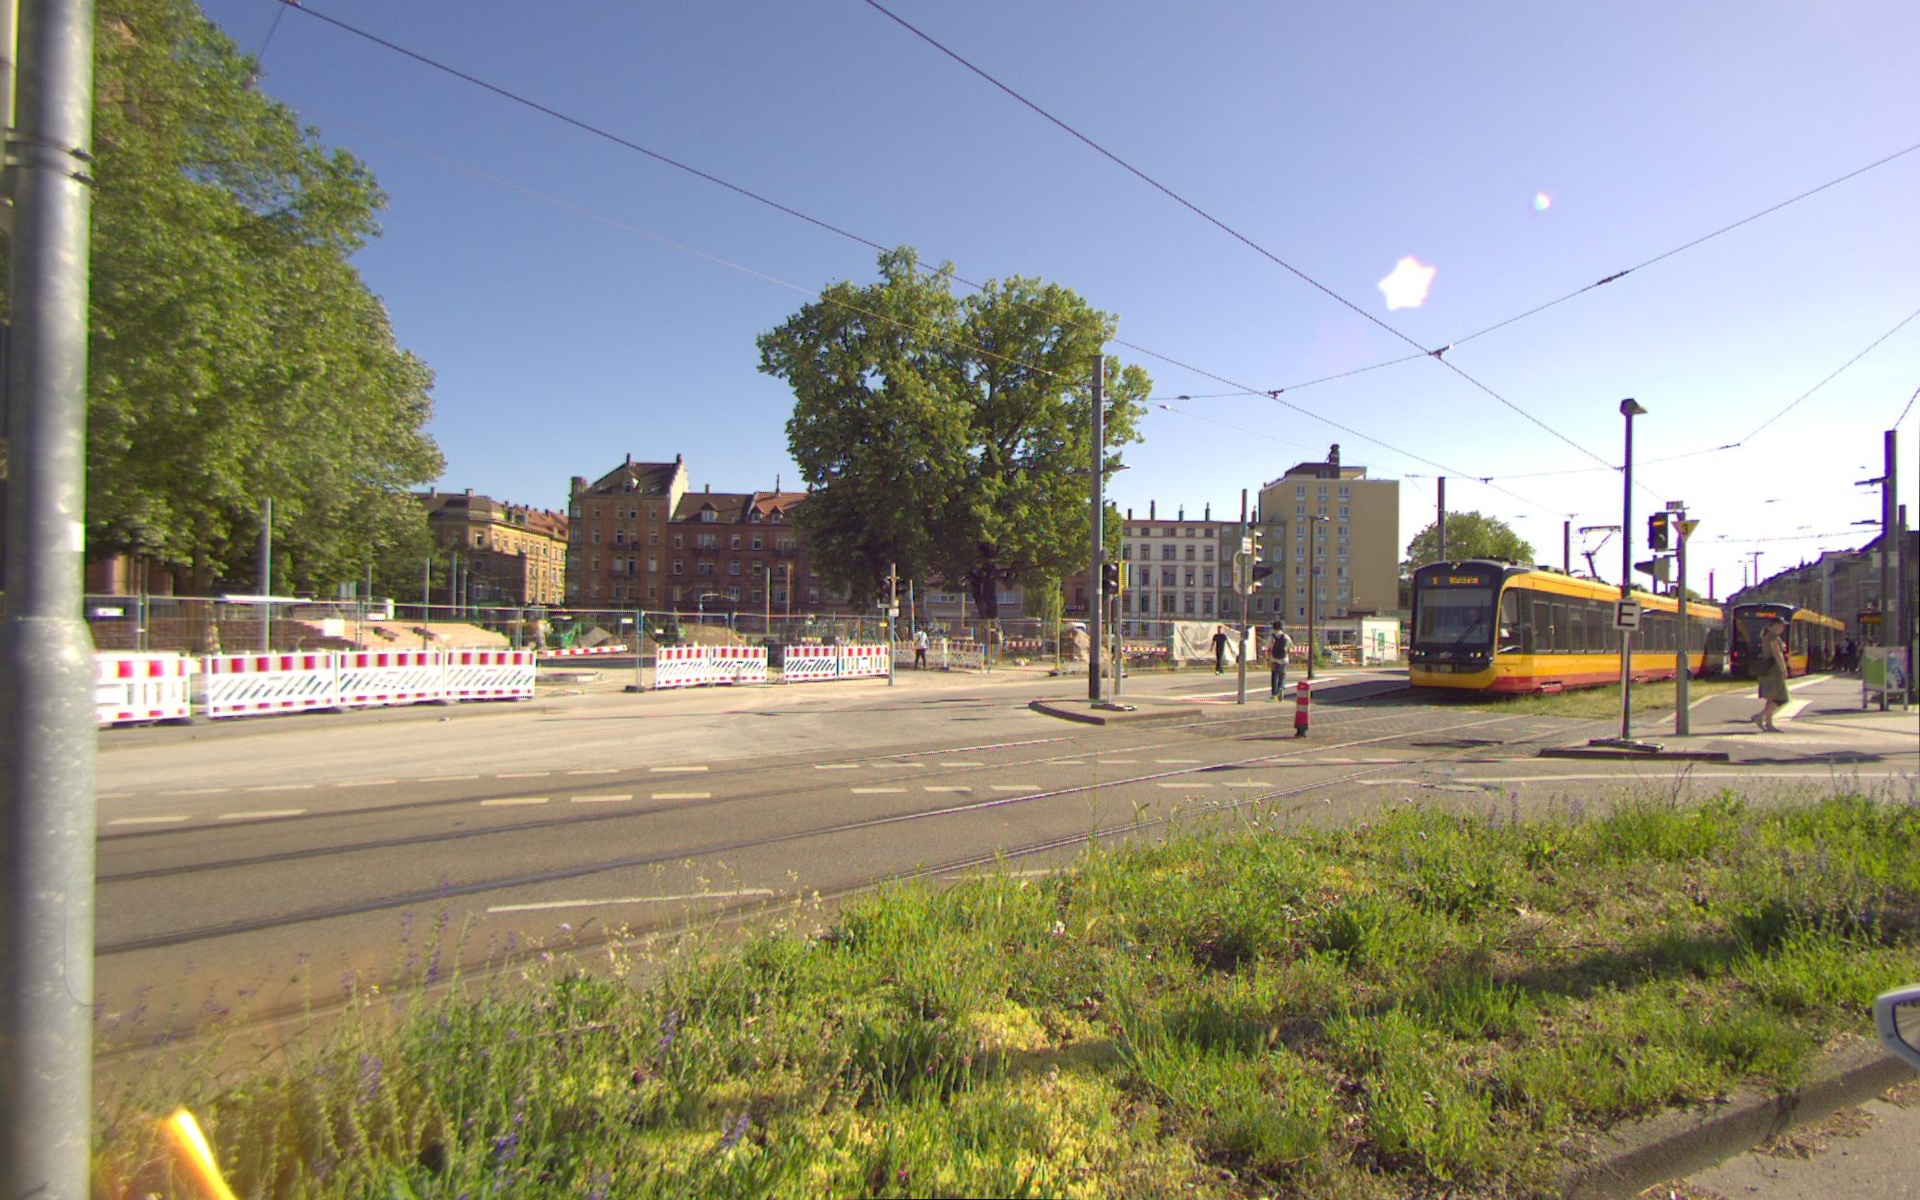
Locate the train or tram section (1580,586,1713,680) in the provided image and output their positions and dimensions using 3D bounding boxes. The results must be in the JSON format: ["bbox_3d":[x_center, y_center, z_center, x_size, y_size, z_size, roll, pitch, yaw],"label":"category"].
[{"bbox_3d":[29.531,1.417,42.891,2.787,3.554,11.142,1,-1,44],"label":"train or tram section"}]

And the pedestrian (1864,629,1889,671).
[{"bbox_3d":[43.372,2.366,47.558,0.838,1.908,0.756,1,-2,43],"label":"pedestrian"}]

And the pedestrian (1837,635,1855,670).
[{"bbox_3d":[48.597,2.870,55.069,0.697,1.881,0.627,3,-1,-41],"label":"pedestrian"}]

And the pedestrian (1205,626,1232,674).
[{"bbox_3d":[9.687,1.860,37.603,0.660,1.791,0.795,-1,-2,43],"label":"pedestrian"}]

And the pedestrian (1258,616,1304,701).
[{"bbox_3d":[7.313,1.323,22.859,0.747,1.856,1.017,0,-2,33],"label":"pedestrian"}]

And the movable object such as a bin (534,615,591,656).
[{"bbox_3d":[-24.660,2.206,62.402,1.857,2.377,4.229,3,-1,-2],"label":"movable object such as a bin"}]

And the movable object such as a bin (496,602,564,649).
[{"bbox_3d":[-31.409,1.862,73.543,3.061,3.214,5.242,3,-1,-7],"label":"movable object such as a bin"}]

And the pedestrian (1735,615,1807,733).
[{"bbox_3d":[13.395,1.188,16.613,0.888,1.875,0.761,0,0,37],"label":"pedestrian"}]

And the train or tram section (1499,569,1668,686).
[{"bbox_3d":[22.064,0.998,35.150,2.787,3.554,10.546,1,-1,44],"label":"train or tram section"}]

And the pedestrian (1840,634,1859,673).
[{"bbox_3d":[43.799,2.640,49.437,0.789,1.881,0.598,4,-2,-43],"label":"pedestrian"}]

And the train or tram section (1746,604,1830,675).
[{"bbox_3d":[45.537,2.180,55.068,2.840,3.554,10.481,0,-2,43],"label":"train or tram section"}]

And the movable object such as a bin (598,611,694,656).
[{"bbox_3d":[-21.866,2.325,70.174,5.970,2.795,1.893,3,-1,-5],"label":"movable object such as a bin"}]

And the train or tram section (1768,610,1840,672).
[{"bbox_3d":[52.784,2.542,62.685,2.840,3.554,10.481,0,-2,43],"label":"train or tram section"}]

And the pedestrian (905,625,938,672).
[{"bbox_3d":[-1.484,1.860,38.566,0.855,1.791,0.965,2,-2,-32],"label":"pedestrian"}]

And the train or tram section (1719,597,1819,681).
[{"bbox_3d":[38.413,1.838,47.514,2.840,3.554,10.481,0,-2,43],"label":"train or tram section"}]

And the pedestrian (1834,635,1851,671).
[{"bbox_3d":[47.526,2.847,54.100,0.624,1.881,0.700,2,-1,39],"label":"pedestrian"}]

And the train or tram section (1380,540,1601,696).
[{"bbox_3d":[14.917,0.606,27.638,2.787,3.554,10.420,-1,-2,43],"label":"train or tram section"}]

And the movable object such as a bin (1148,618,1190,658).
[{"bbox_3d":[15.593,2.790,75.234,1.799,2.832,3.996,3,-1,-7],"label":"movable object such as a bin"}]
